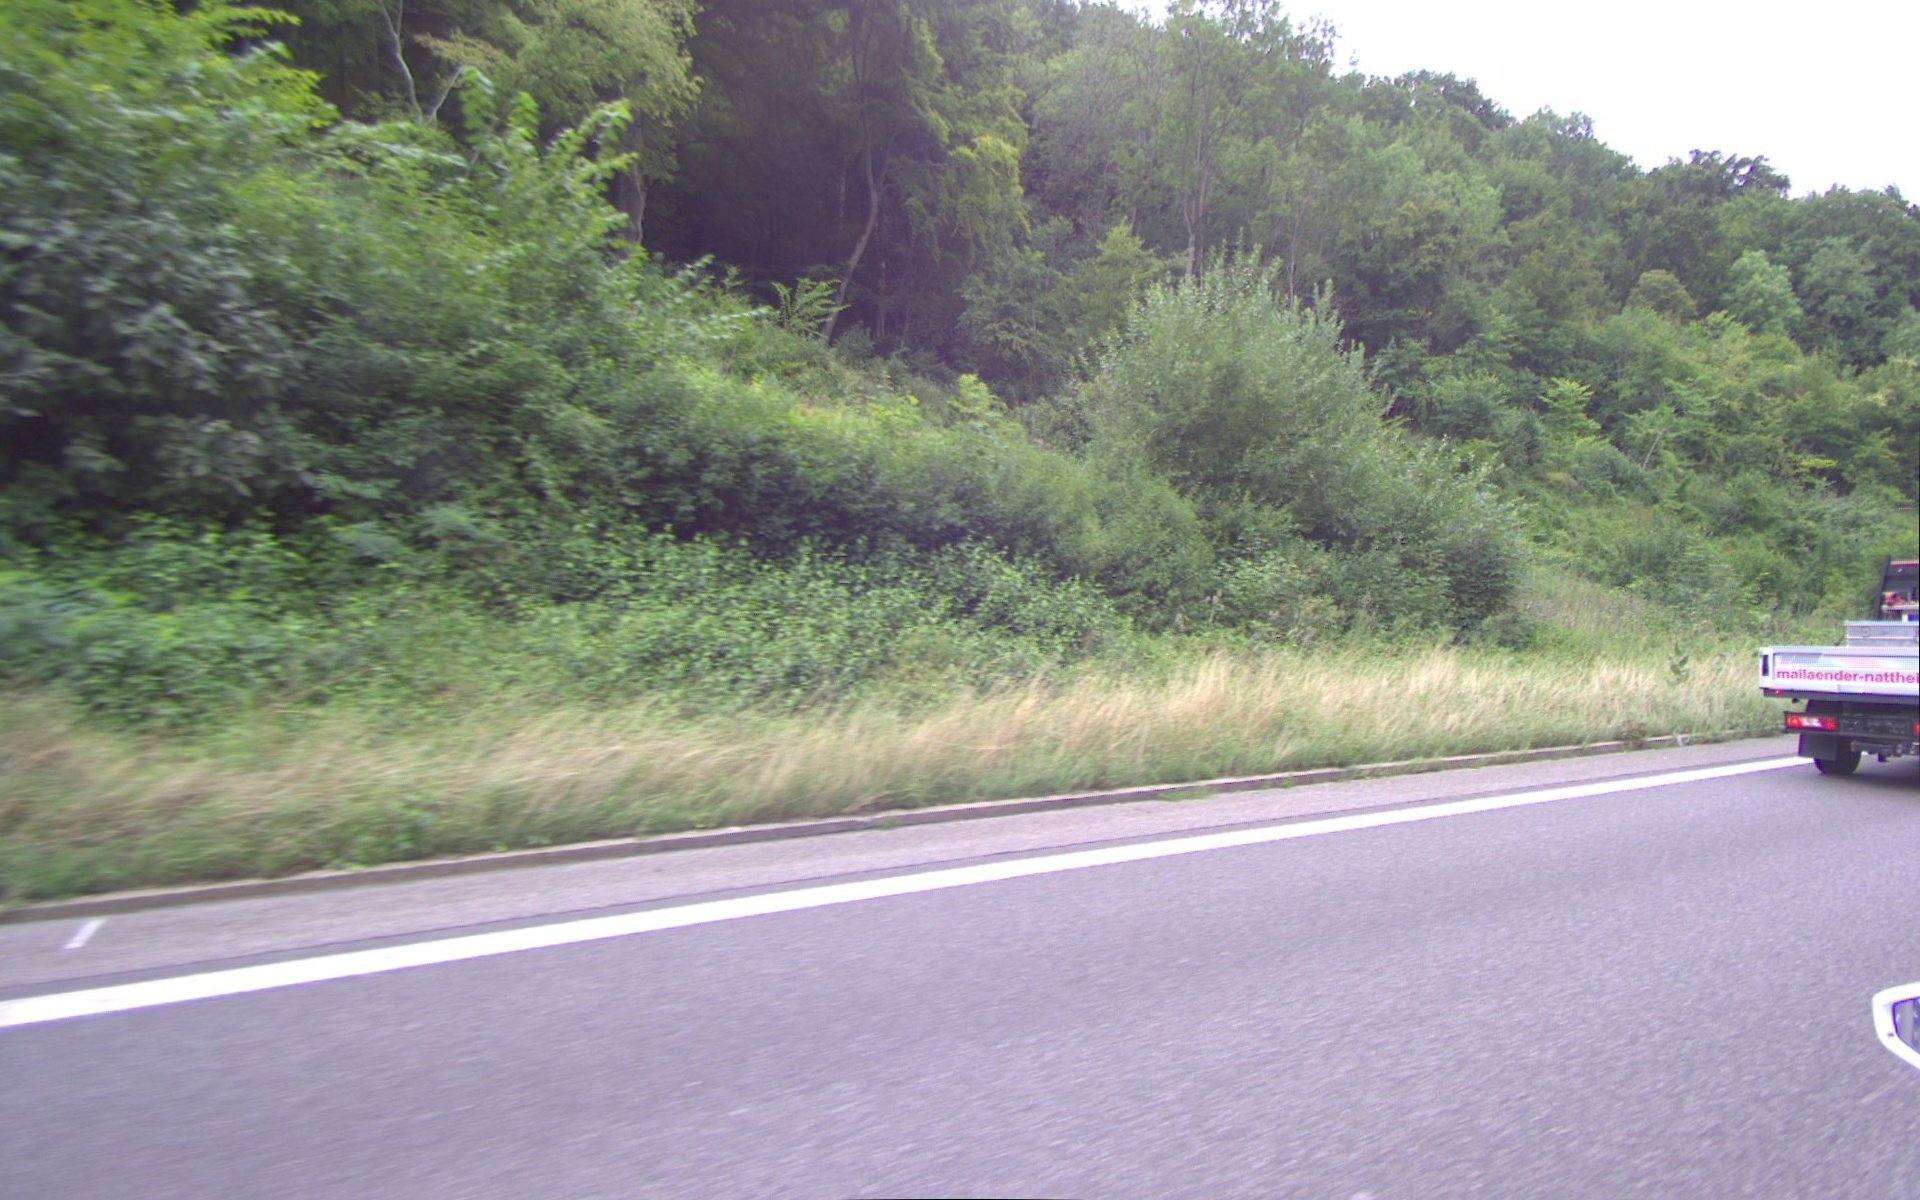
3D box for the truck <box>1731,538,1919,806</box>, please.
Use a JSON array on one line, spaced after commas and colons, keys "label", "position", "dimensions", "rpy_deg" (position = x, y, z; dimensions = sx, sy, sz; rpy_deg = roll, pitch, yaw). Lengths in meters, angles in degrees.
[{"label": "truck", "position": [11.028, 0.673, 10.617], "dimensions": [6.772, 2.304, 2.337], "rpy_deg": [1, -2, -32]}]
